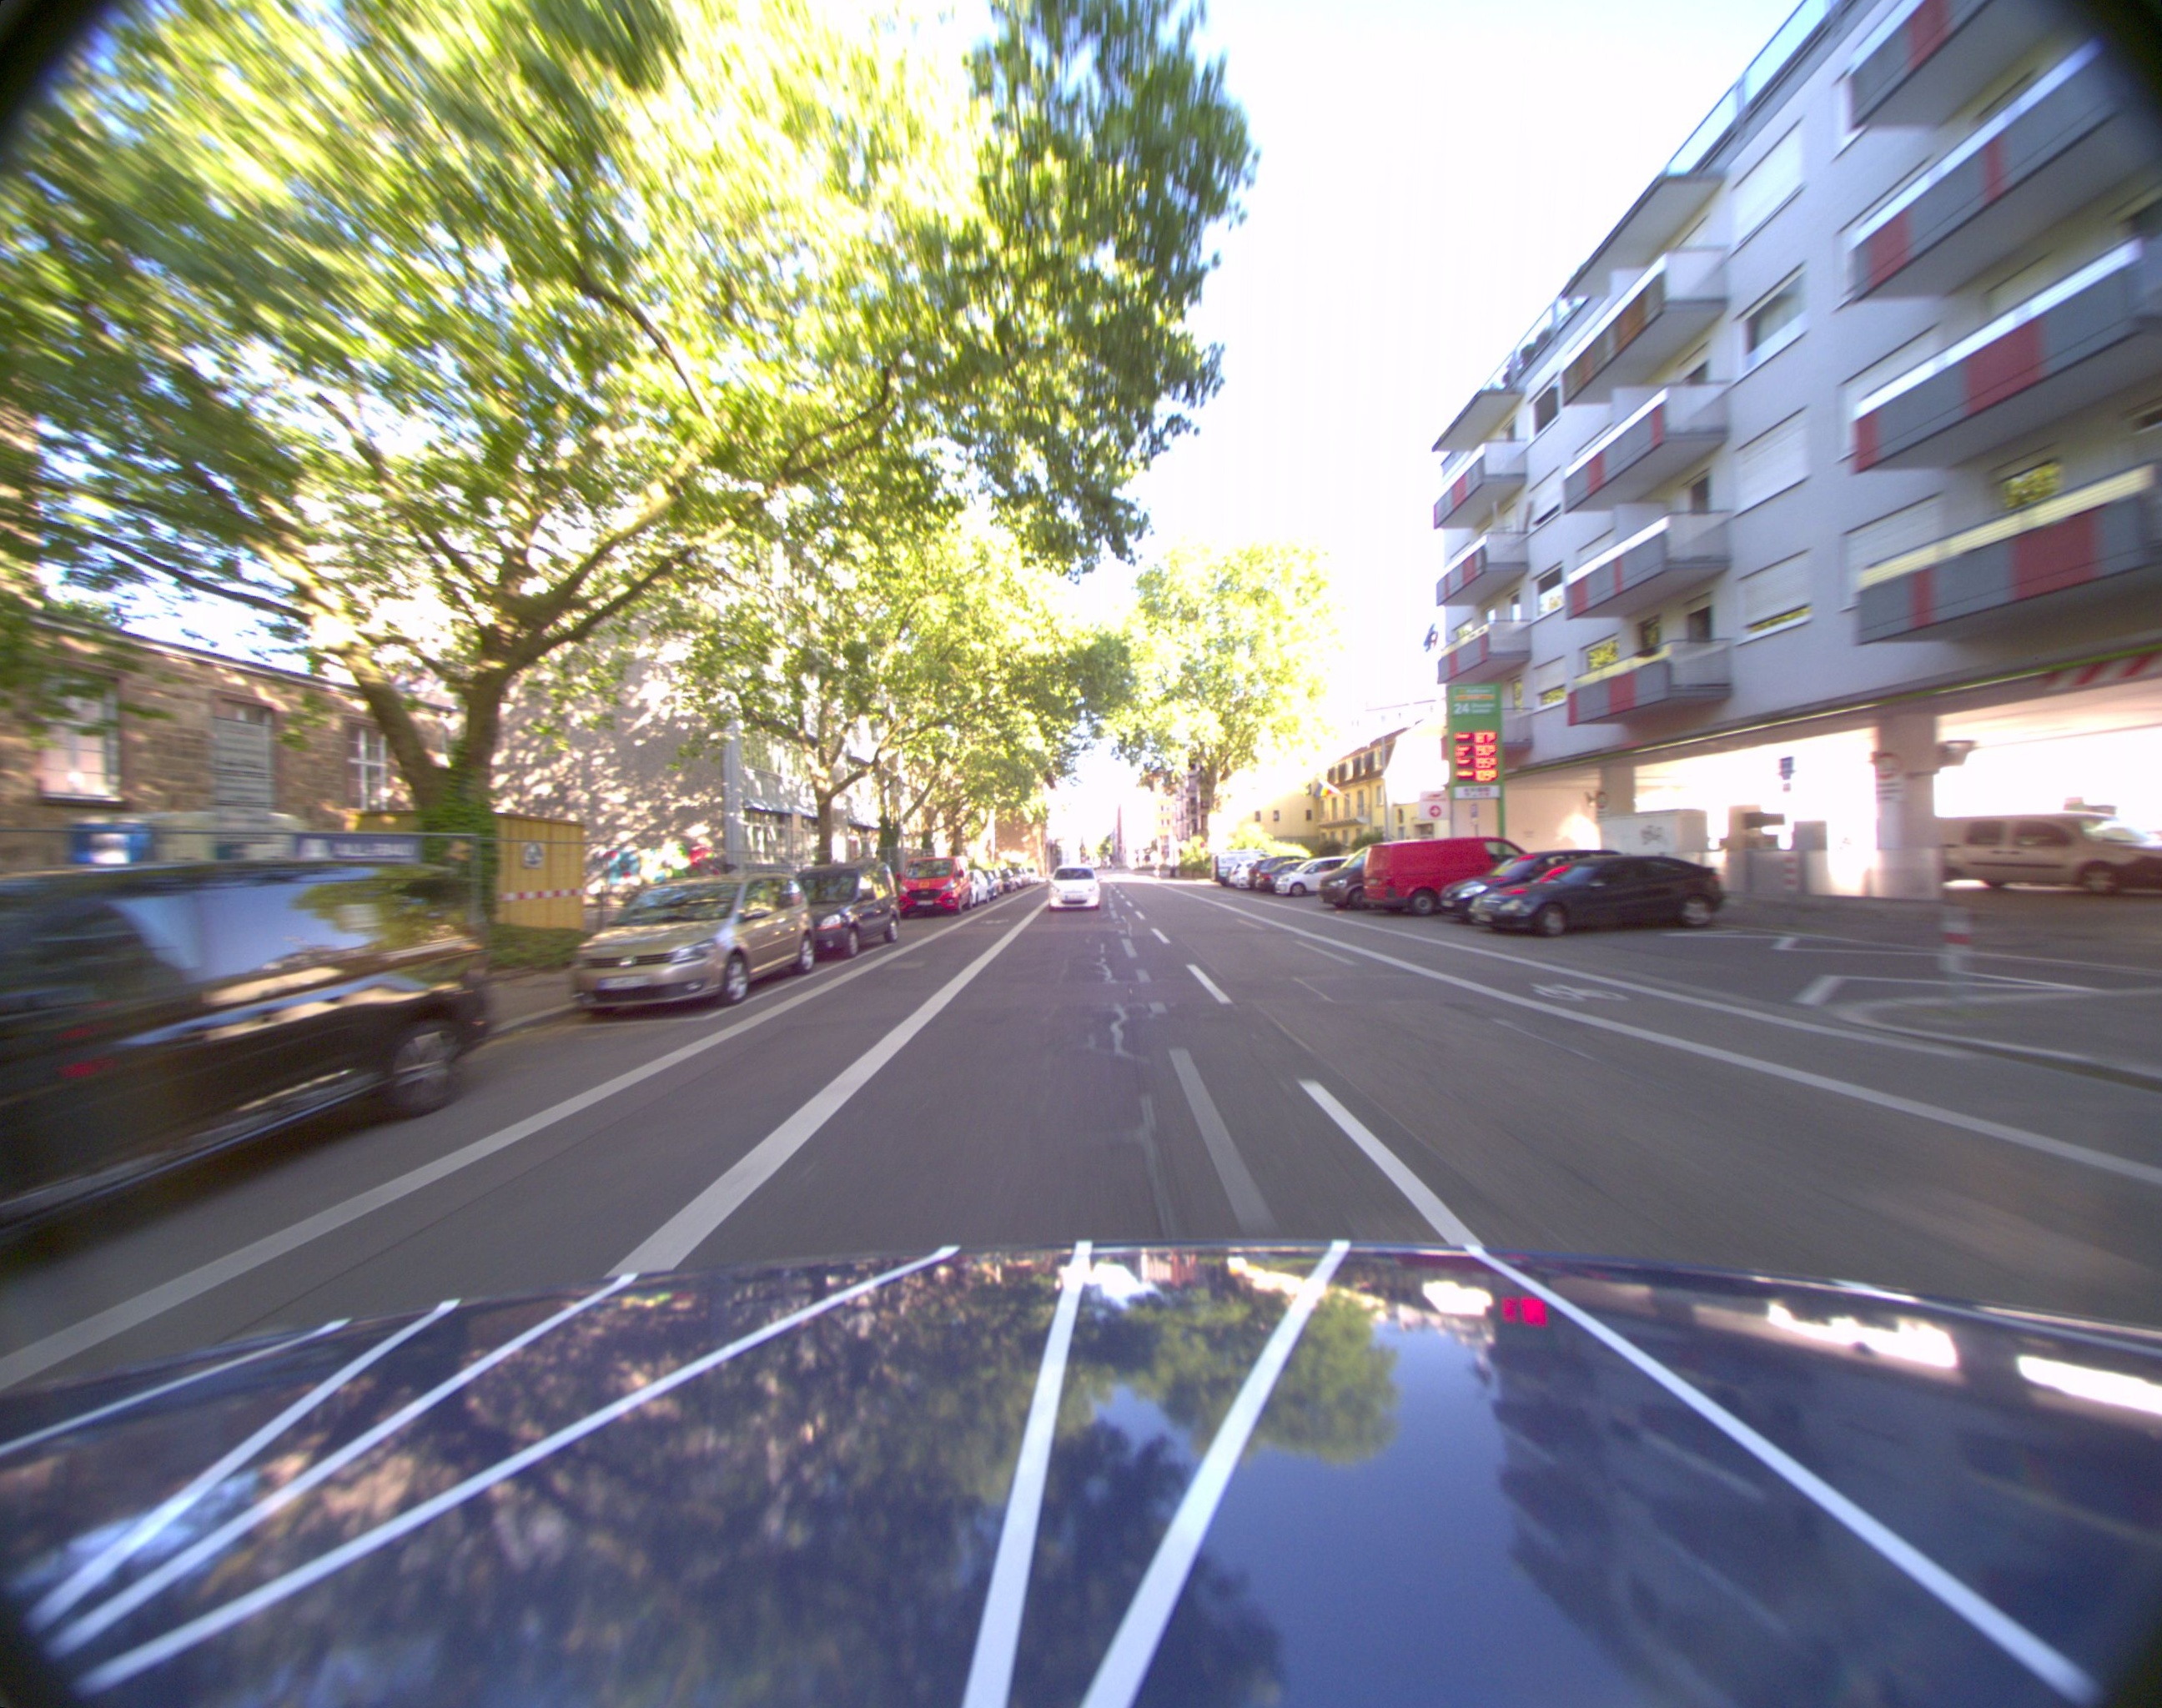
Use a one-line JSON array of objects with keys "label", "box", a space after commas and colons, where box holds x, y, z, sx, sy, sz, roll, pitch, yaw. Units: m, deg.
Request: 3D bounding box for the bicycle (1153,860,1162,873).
[{"label": "bicycle", "box": [7.118, 1.136, 70.787, 0.608, 1.232, 2.050, 0, -1, 1]}]

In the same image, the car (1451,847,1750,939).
[{"label": "car", "box": [9.707, 0.688, 14.494, 4.239, 1.372, 2.046, -3, 1, 1]}]

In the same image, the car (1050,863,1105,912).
[{"label": "car", "box": [-0.112, 1.095, 25.761, 1.683, 1.489, 3.685, -1, -1, 0]}]

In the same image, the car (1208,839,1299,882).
[{"label": "car", "box": [10.170, 0.388, 45.087, 4.856, 2.204, 2.140, -3, 0, 0]}]

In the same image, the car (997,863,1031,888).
[{"label": "car", "box": [-4.553, 1.411, 52.098, 1.860, 1.514, 4.297, -3, 0, 0]}]

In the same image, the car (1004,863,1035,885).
[{"label": "car", "box": [-4.561, 1.447, 57.013, 1.860, 1.428, 4.602, -3, 0, 0]}]

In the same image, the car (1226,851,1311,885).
[{"label": "car", "box": [9.942, 0.734, 40.529, 3.997, 1.550, 1.853, -3, 0, 0]}]

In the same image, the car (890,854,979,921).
[{"label": "car", "box": [-4.926, 1.059, 26.338, 2.083, 1.982, 5.171, -3, 0, -1]}]

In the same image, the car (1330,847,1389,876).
[{"label": "car", "box": [15.657, 0.392, 42.904, 1.794, 1.455, 4.000, -4, 0, 1]}]

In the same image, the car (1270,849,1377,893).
[{"label": "car", "box": [9.744, 0.682, 30.758, 3.694, 1.504, 1.831, -4, 0, 0]}]

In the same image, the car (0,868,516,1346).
[{"label": "car", "box": [-5.255, 1.057, 3.638, 1.830, 1.830, 4.896, -4, 0, -8]}]

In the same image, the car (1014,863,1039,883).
[{"label": "car", "box": [-4.459, 1.530, 62.790, 1.860, 1.428, 4.969, -2, 0, -3]}]

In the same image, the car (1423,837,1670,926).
[{"label": "car", "box": [10.079, 0.563, 16.692, 4.183, 1.554, 1.886, -4, 0, 1]}]

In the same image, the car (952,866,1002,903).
[{"label": "car", "box": [-4.846, 1.397, 36.037, 1.860, 1.502, 3.928, -4, 0, -2]}]

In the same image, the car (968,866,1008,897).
[{"label": "car", "box": [-4.890, 1.446, 40.525, 1.617, 1.466, 3.493, -4, 0, 0]}]

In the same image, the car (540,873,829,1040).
[{"label": "car", "box": [-5.041, 1.177, 10.458, 1.697, 1.618, 4.329, -4, 0, -2]}]

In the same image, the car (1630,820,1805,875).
[{"label": "car", "box": [22.753, -0.231, 27.292, 4.533, 1.739, 2.000, -2, 0, 1]}]

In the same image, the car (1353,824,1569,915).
[{"label": "car", "box": [9.697, 0.386, 19.705, 4.432, 1.940, 2.146, -4, 0, 1]}]

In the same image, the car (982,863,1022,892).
[{"label": "car", "box": [-4.699, 1.368, 45.843, 1.860, 1.513, 4.599, -3, 0, 0]}]

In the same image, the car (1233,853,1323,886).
[{"label": "car", "box": [9.891, 0.758, 38.403, 3.997, 1.424, 1.853, -3, 0, 0]}]

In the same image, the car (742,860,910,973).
[{"label": "car", "box": [-4.817, 1.079, 15.035, 1.697, 1.802, 4.130, -4, 0, 2]}]

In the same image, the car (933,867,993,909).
[{"label": "car", "box": [-4.741, 1.330, 31.011, 1.641, 1.476, 3.760, -4, 0, 2]}]

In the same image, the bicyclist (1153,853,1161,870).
[{"label": "bicyclist", "box": [7.115, 0.682, 70.965, 0.608, 1.535, 0.934, 0, 0, 1]}]

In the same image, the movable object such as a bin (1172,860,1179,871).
[{"label": "movable object such as a bin", "box": [9.334, 1.163, 75.107, 0.595, 1.065, 0.644, -1, 0, 1]}]

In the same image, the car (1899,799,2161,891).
[{"label": "car", "box": [21.200, -0.208, 16.609, 1.725, 1.737, 4.584, -1, 1, 1]}]

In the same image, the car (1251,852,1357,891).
[{"label": "car", "box": [9.666, 0.751, 33.133, 3.997, 1.447, 1.916, -3, 0, 0]}]

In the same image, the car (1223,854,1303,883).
[{"label": "car", "box": [10.207, 0.793, 42.768, 3.997, 1.424, 1.853, -3, 0, 0]}]

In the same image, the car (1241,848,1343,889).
[{"label": "car", "box": [9.884, 0.647, 35.836, 4.204, 1.674, 2.028, -3, 0, 0]}]

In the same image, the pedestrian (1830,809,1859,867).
[{"label": "pedestrian", "box": [21.967, -0.454, 21.858, 0.538, 1.639, 0.636, -2, 0, 44]}]

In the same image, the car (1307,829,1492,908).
[{"label": "car", "box": [9.369, 0.430, 22.655, 4.534, 1.940, 2.057, -4, 0, 1]}]
